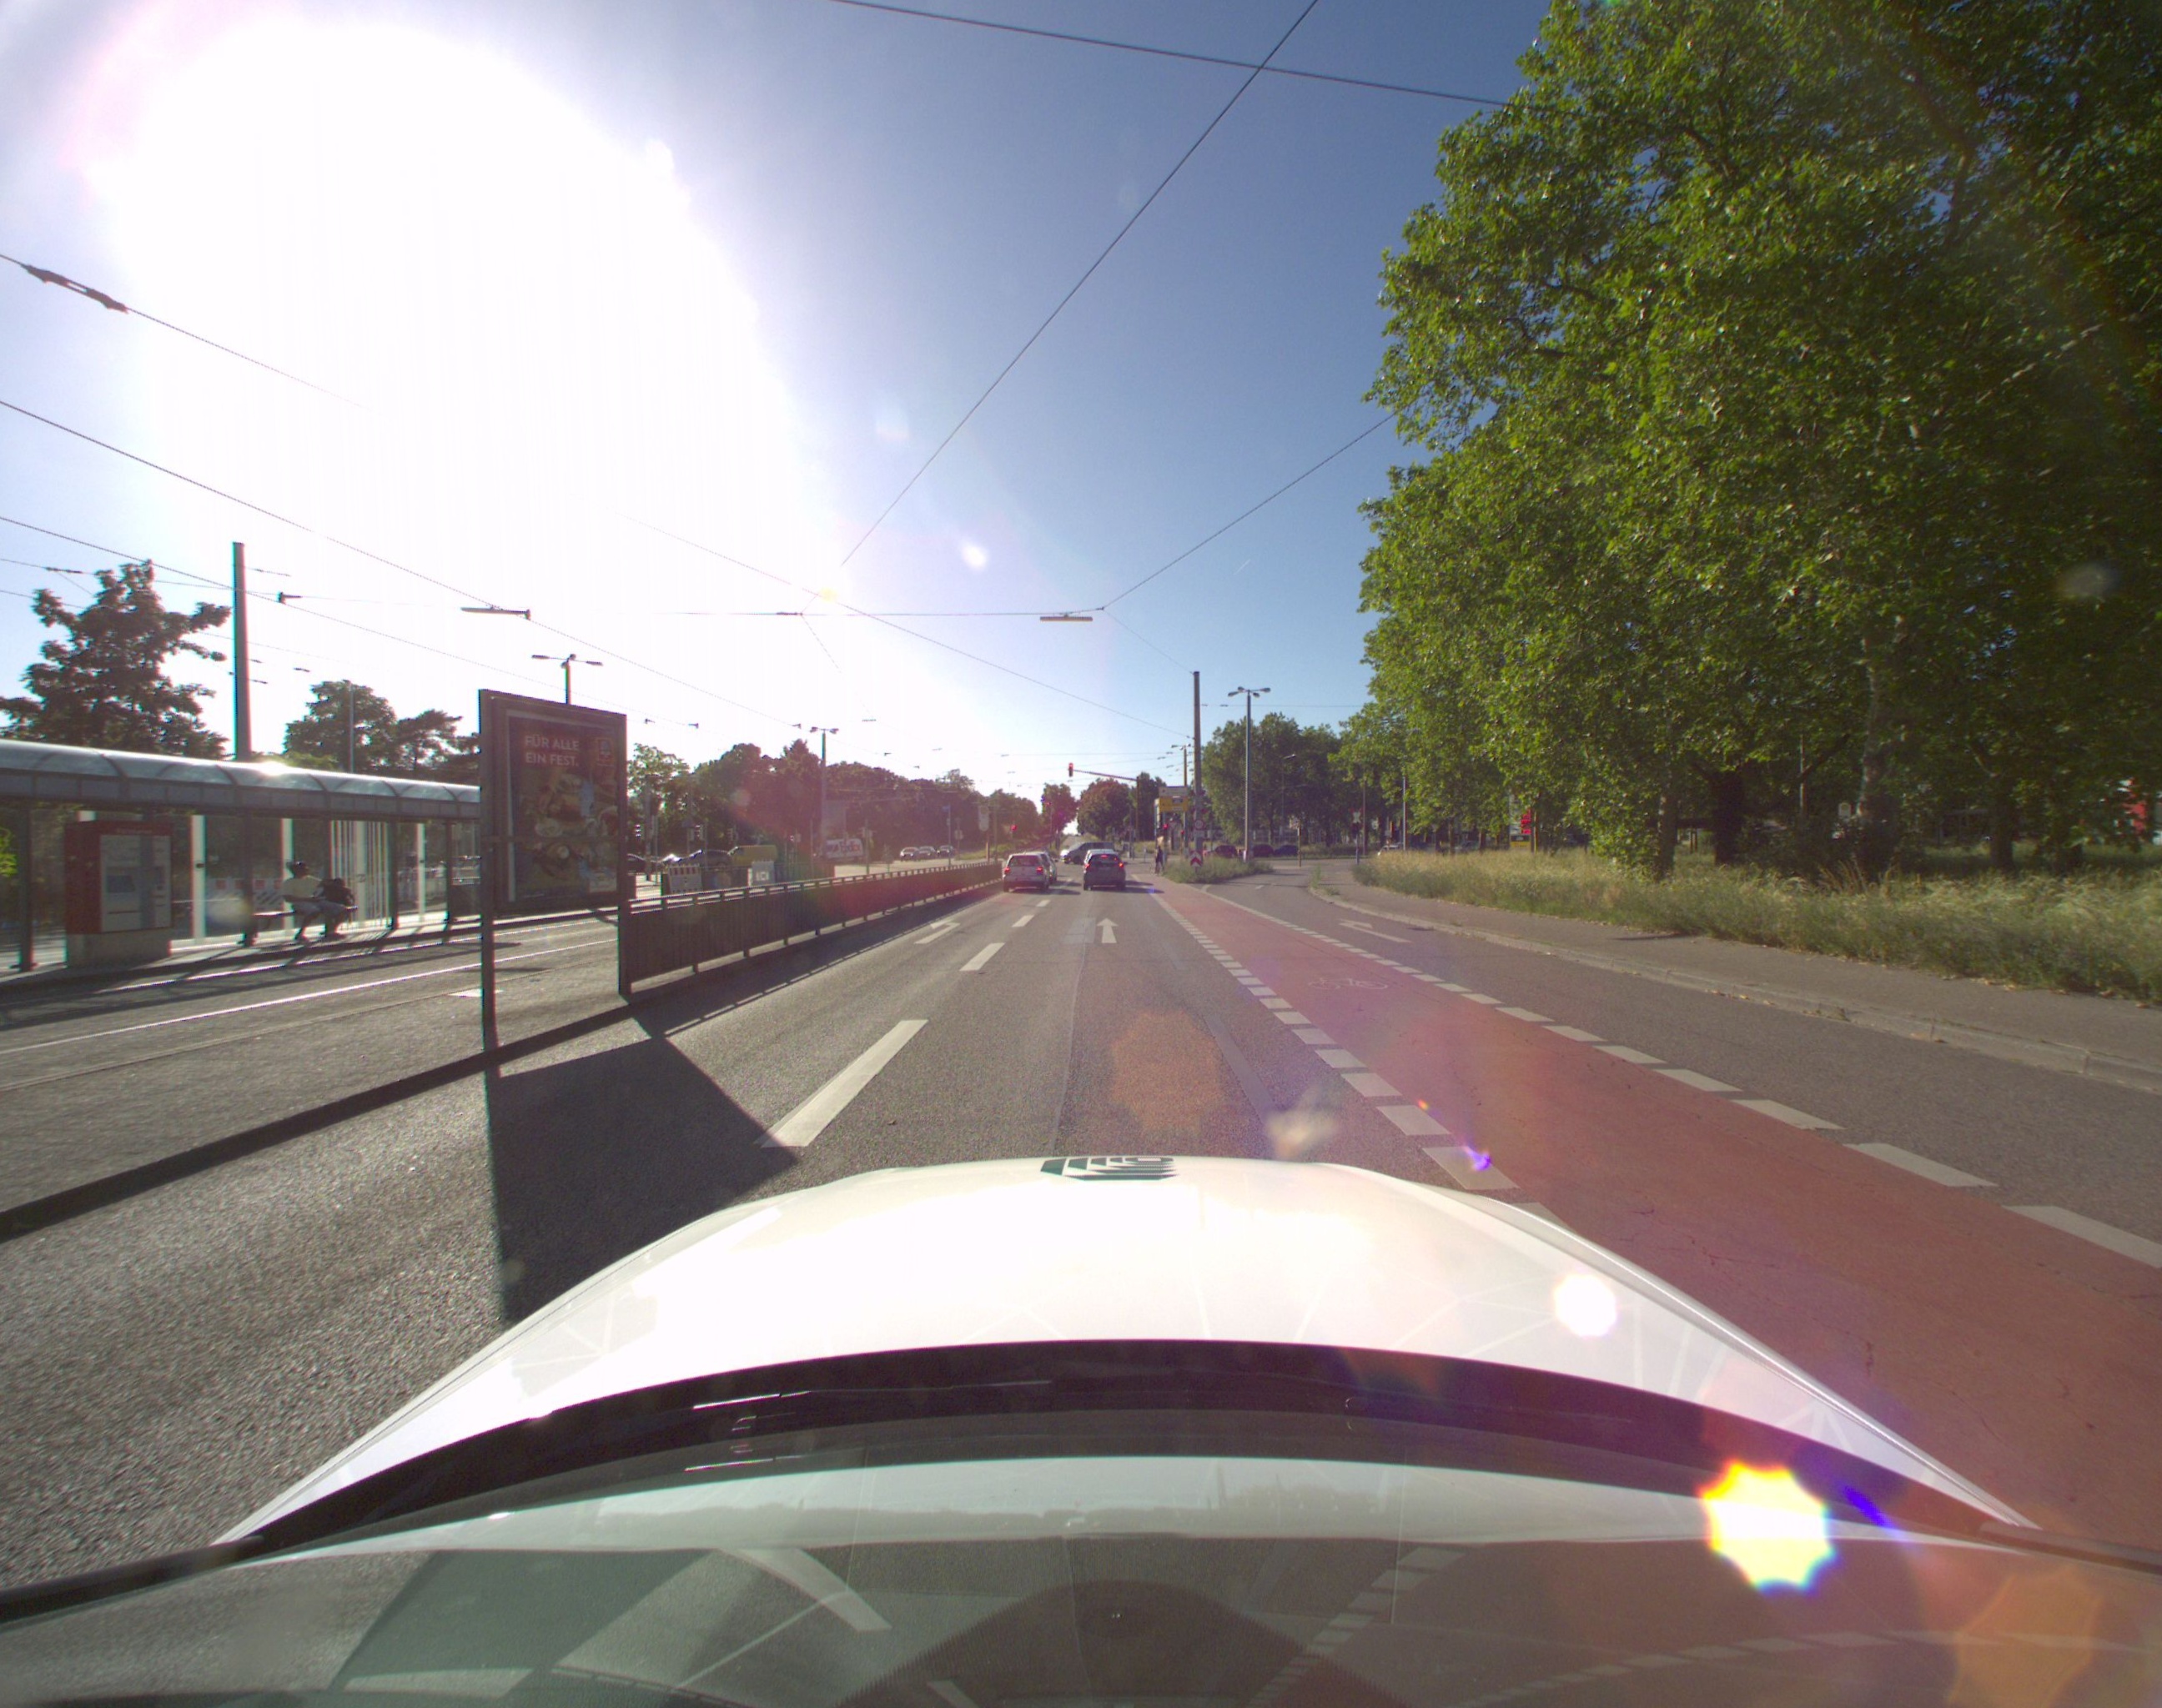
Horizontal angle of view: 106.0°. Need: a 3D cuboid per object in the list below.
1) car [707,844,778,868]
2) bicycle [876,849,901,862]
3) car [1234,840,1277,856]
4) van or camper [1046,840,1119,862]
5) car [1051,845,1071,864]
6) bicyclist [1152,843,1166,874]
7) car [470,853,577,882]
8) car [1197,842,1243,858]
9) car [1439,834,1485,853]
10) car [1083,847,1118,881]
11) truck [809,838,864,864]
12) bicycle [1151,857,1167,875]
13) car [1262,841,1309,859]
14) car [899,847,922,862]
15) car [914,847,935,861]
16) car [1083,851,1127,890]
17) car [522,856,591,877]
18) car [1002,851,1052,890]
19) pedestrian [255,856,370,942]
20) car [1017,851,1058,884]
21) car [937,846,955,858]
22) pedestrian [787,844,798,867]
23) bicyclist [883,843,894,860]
[{"bbox_3d":[-27.464,0.169,66.129,5.181,1.879,1.983,1,0,-26],"label":"car"},{"bbox_3d":[-19.034,0.160,80.544,2.401,1.262,0.813,-1,0,-17],"label":"bicycle"},{"bbox_3d":[17.411,-0.583,81.194,4.002,1.531,1.594,-1,1,-21],"label":"car"},{"bbox_3d":[0.139,-0.284,69.886,5.993,1.828,1.985,-1,0,-23],"label":"van or camper"},{"bbox_3d":[-2.213,0.059,90.955,1.986,2.013,4.493,1,0,2],"label":"car"},{"bbox_3d":[4.482,0.252,46.831,0.663,1.716,0.948,1,0,1],"label":"bicyclist"},{"bbox_3d":[-31.963,0.741,46.867,4.844,1.497,1.771,-1,1,-25],"label":"car"},{"bbox_3d":[13.047,-0.376,76.406,4.020,1.402,1.597,-1,1,-23],"label":"car"},{"bbox_3d":[43.817,-1.217,93.746,4.906,2.013,1.986,-1,1,-21],"label":"car"},{"bbox_3d":[0.971,0.467,39.750,1.605,1.562,4.289,0,0,1],"label":"car"},{"bbox_3d":[-25.257,-0.301,84.346,1.978,2.565,6.853,-1,0,17],"label":"truck"},{"bbox_3d":[4.478,0.658,46.911,0.719,0.989,2.876,1,0,1],"label":"bicycle"},{"bbox_3d":[22.275,-0.396,88.645,4.705,1.879,1.986,1,0,-21],"label":"car"},{"bbox_3d":[-18.037,0.028,86.393,1.829,1.548,3.993,-1,0,-5],"label":"car"},{"bbox_3d":[-18.086,-0.012,94.258,1.829,1.548,4.277,-1,0,-5],"label":"car"},{"bbox_3d":[0.911,0.632,33.110,1.663,1.461,3.585,0,0,0],"label":"car"},{"bbox_3d":[-38.909,0.904,60.489,4.001,1.473,1.739,1,0,-21],"label":"car"},{"bbox_3d":[-2.053,0.613,31.881,1.613,1.417,3.352,-1,0,1],"label":"car"},{"bbox_3d":[-13.648,0.769,14.504,1.057,1.453,1.007,-1,0,1],"label":"pedestrian"},{"bbox_3d":[-2.009,0.588,38.464,1.613,1.457,4.086,0,0,1],"label":"car"},{"bbox_3d":[-17.691,-0.288,106.548,1.991,1.604,4.746,0,1,-6],"label":"car"},{"bbox_3d":[-25.600,0.129,72.263,0.748,2.013,0.789,-1,0,-10],"label":"pedestrian"},{"bbox_3d":[-19.055,-0.281,80.497,1.009,1.647,0.813,-1,0,-16],"label":"bicyclist"}]
